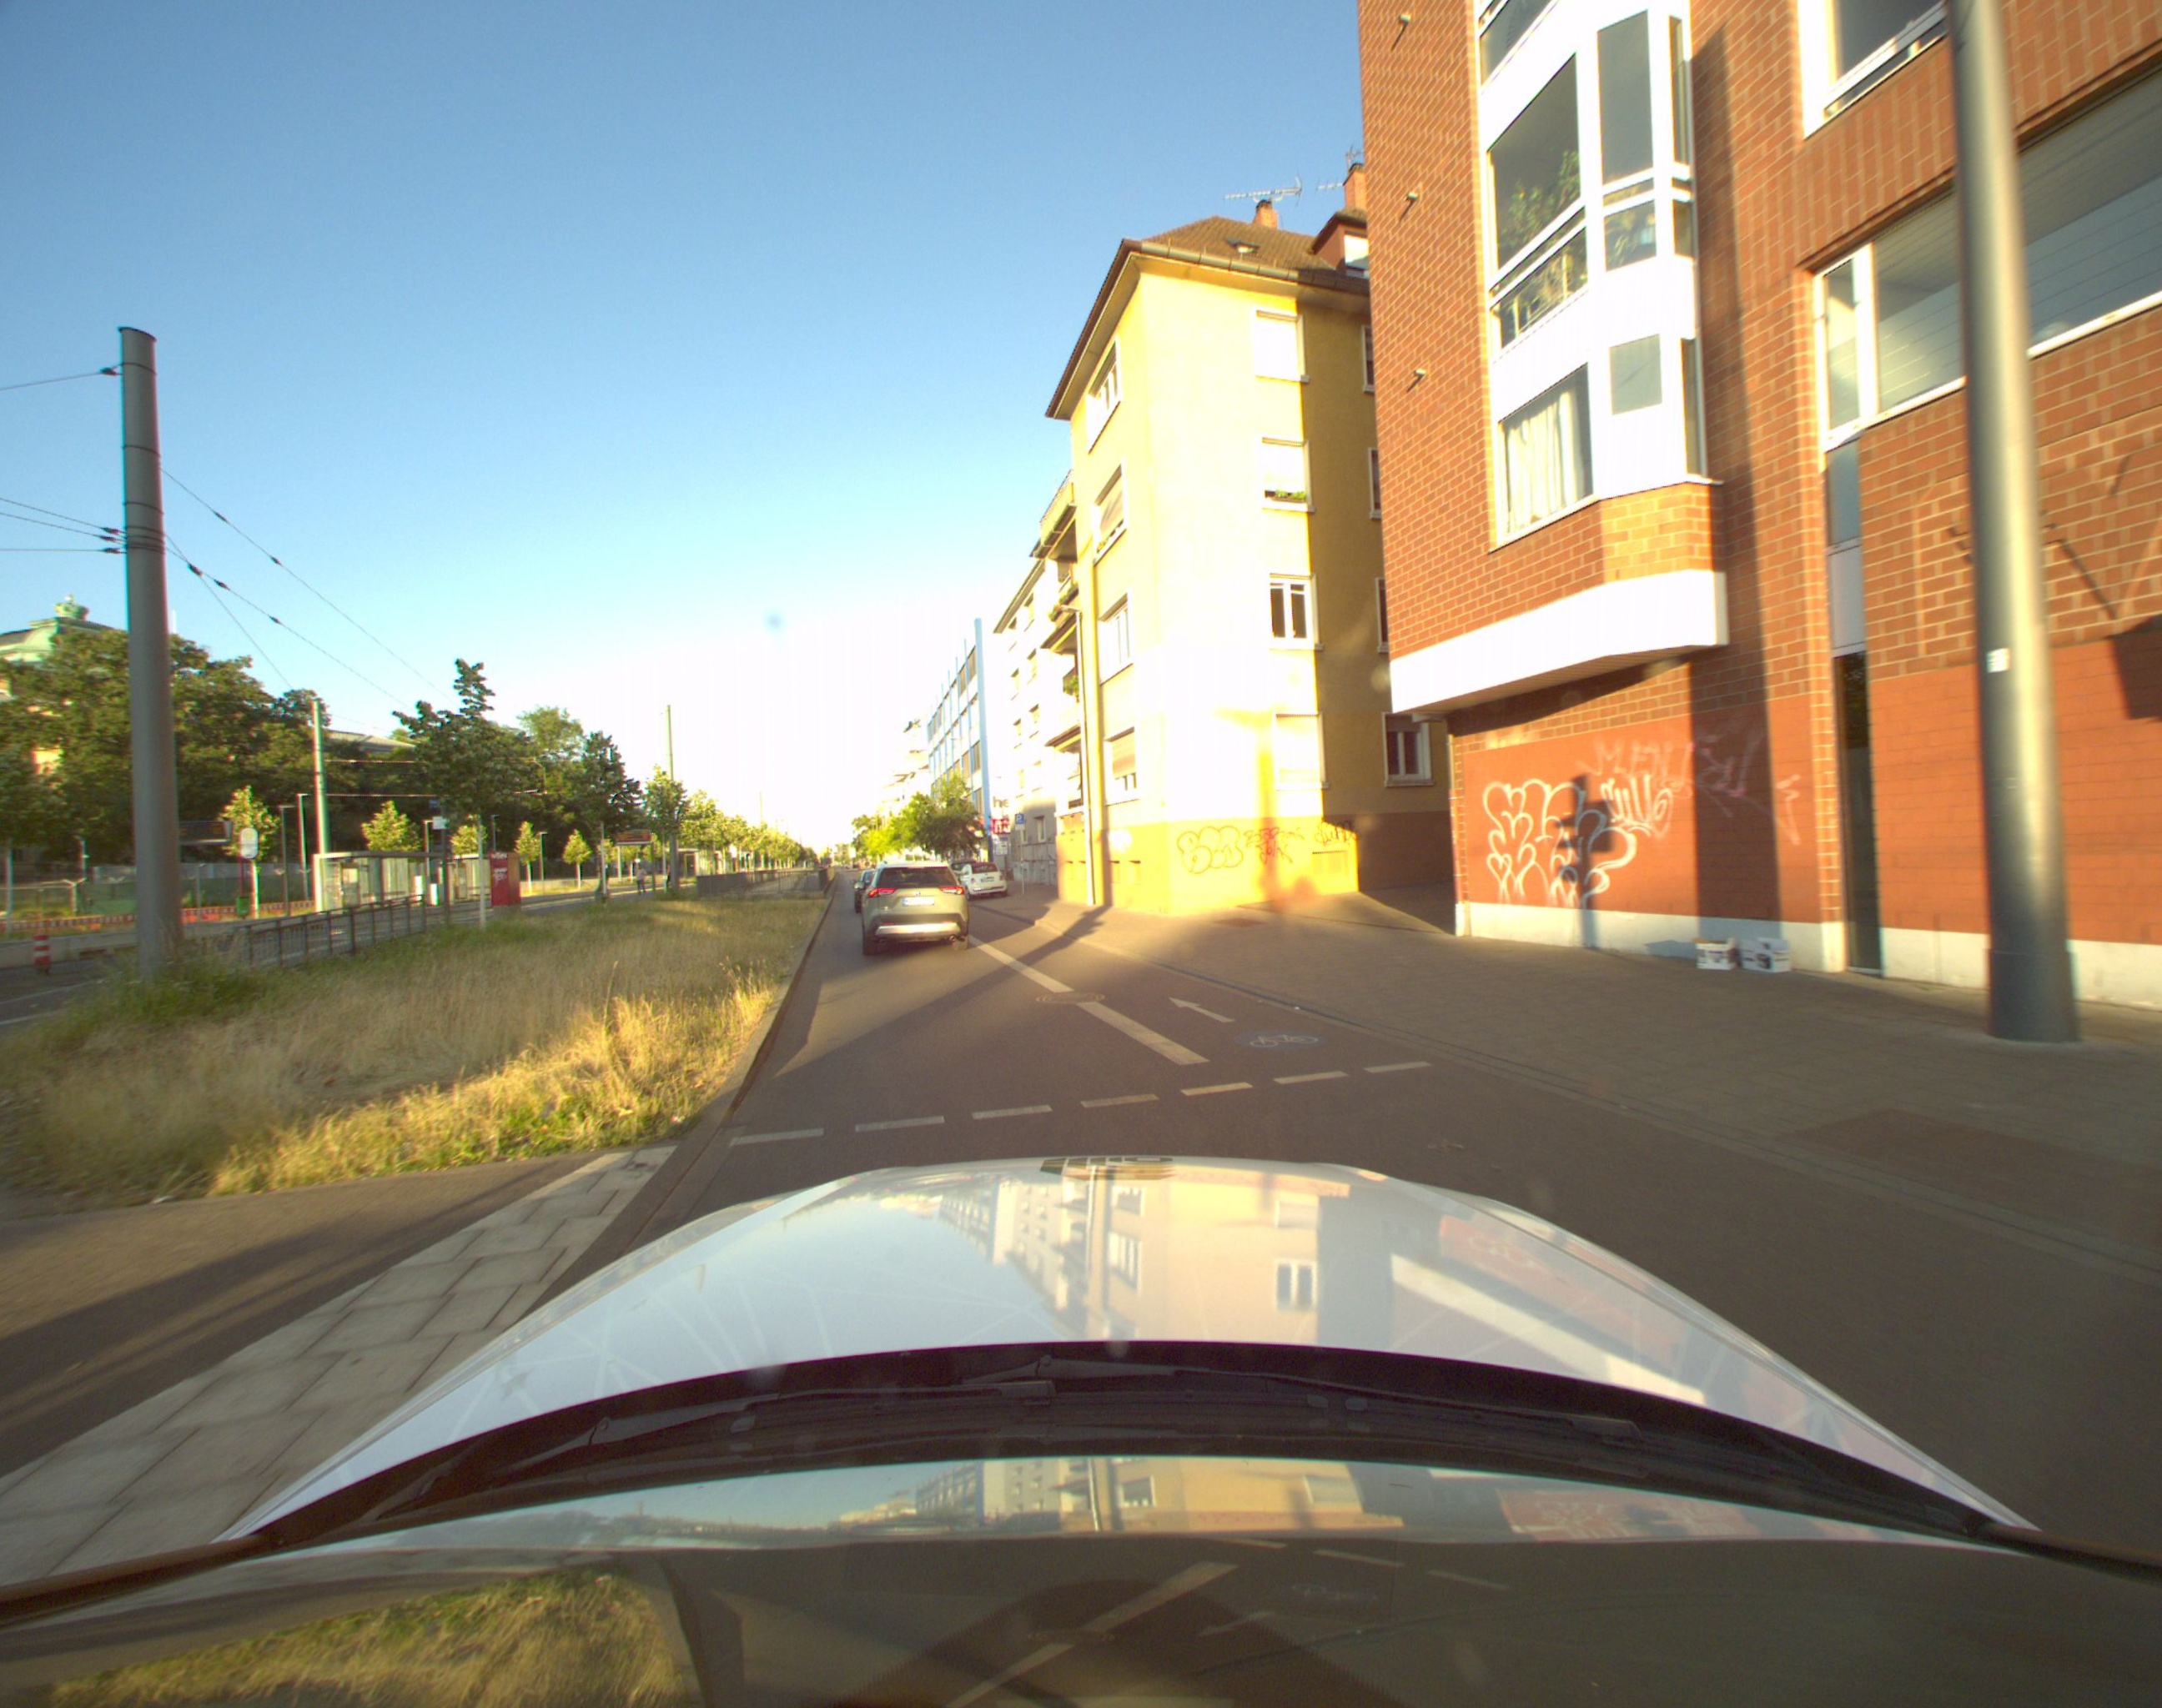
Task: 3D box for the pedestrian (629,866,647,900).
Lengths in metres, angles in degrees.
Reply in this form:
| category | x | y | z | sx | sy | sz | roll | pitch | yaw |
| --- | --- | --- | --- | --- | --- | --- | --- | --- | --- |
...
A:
| category | x | y | z | sx | sy | sz | roll | pitch | yaw |
| --- | --- | --- | --- | --- | --- | --- | --- | --- | --- |
| pedestrian | -23.648 | 1.531 | 43.510 | 0.728 | 1.744 | 0.631 | -3 | 1 | -25 |

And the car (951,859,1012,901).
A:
| category | x | y | z | sx | sy | sz | roll | pitch | yaw |
| --- | --- | --- | --- | --- | --- | --- | --- | --- | --- |
| car | -4.230 | 1.044 | 34.110 | 1.675 | 1.517 | 3.577 | -5 | 1 | -20 |

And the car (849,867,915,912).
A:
| category | x | y | z | sx | sy | sz | roll | pitch | yaw |
| --- | --- | --- | --- | --- | --- | --- | --- | --- | --- |
| car | -7.126 | 1.207 | 28.893 | 1.864 | 1.462 | 4.165 | -1 | -1 | -19 |

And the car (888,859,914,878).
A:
| category | x | y | z | sx | sy | sz | roll | pitch | yaw |
| --- | --- | --- | --- | --- | --- | --- | --- | --- | --- |
| car | -15.530 | 1.245 | 70.148 | 1.689 | 1.454 | 4.103 | -4 | 0 | -19 |

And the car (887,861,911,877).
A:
| category | x | y | z | sx | sy | sz | roll | pitch | yaw |
| --- | --- | --- | --- | --- | --- | --- | --- | --- | --- |
| car | -17.903 | 1.463 | 79.854 | 1.825 | 1.454 | 4.102 | -4 | 0 | -19 |

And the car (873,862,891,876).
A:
| category | x | y | z | sx | sy | sz | roll | pitch | yaw |
| --- | --- | --- | --- | --- | --- | --- | --- | --- | --- |
| car | -26.364 | 1.994 | 107.767 | 1.860 | 1.706 | 4.227 | -7 | 1 | -19 |

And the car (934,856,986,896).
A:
| category | x | y | z | sx | sy | sz | roll | pitch | yaw |
| --- | --- | --- | --- | --- | --- | --- | --- | --- | --- |
| car | -5.874 | 1.004 | 39.108 | 1.761 | 1.654 | 4.502 | -5 | 1 | -17 |

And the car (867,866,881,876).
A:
| category | x | y | z | sx | sy | sz | roll | pitch | yaw |
| --- | --- | --- | --- | --- | --- | --- | --- | --- | --- |
| car | -34.563 | 2.780 | 135.706 | 1.799 | 1.471 | 4.415 | -6 | 1 | -20 |

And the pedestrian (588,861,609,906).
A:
| category | x | y | z | sx | sy | sz | roll | pitch | yaw |
| --- | --- | --- | --- | --- | --- | --- | --- | --- | --- |
| pedestrian | -19.513 | 1.202 | 32.951 | 0.471 | 1.787 | 0.624 | -2 | -1 | -10 |

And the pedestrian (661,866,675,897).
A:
| category | x | y | z | sx | sy | sz | roll | pitch | yaw |
| --- | --- | --- | --- | --- | --- | --- | --- | --- | --- |
| pedestrian | -24.189 | 1.609 | 47.745 | 0.638 | 1.729 | 0.630 | -3 | 0 | -30 |

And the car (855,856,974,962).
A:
| category | x | y | z | sx | sy | sz | roll | pitch | yaw |
| --- | --- | --- | --- | --- | --- | --- | --- | --- | --- |
| car | -3.328 | 0.941 | 15.684 | 1.862 | 1.714 | 4.168 | -1 | -1 | -17 |

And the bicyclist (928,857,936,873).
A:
| category | x | y | z | sx | sy | sz | roll | pitch | yaw |
| --- | --- | --- | --- | --- | --- | --- | --- | --- | --- |
| bicyclist | -13.954 | 1.017 | 76.330 | 0.560 | 1.475 | 0.619 | -6 | 0 | -19 |
